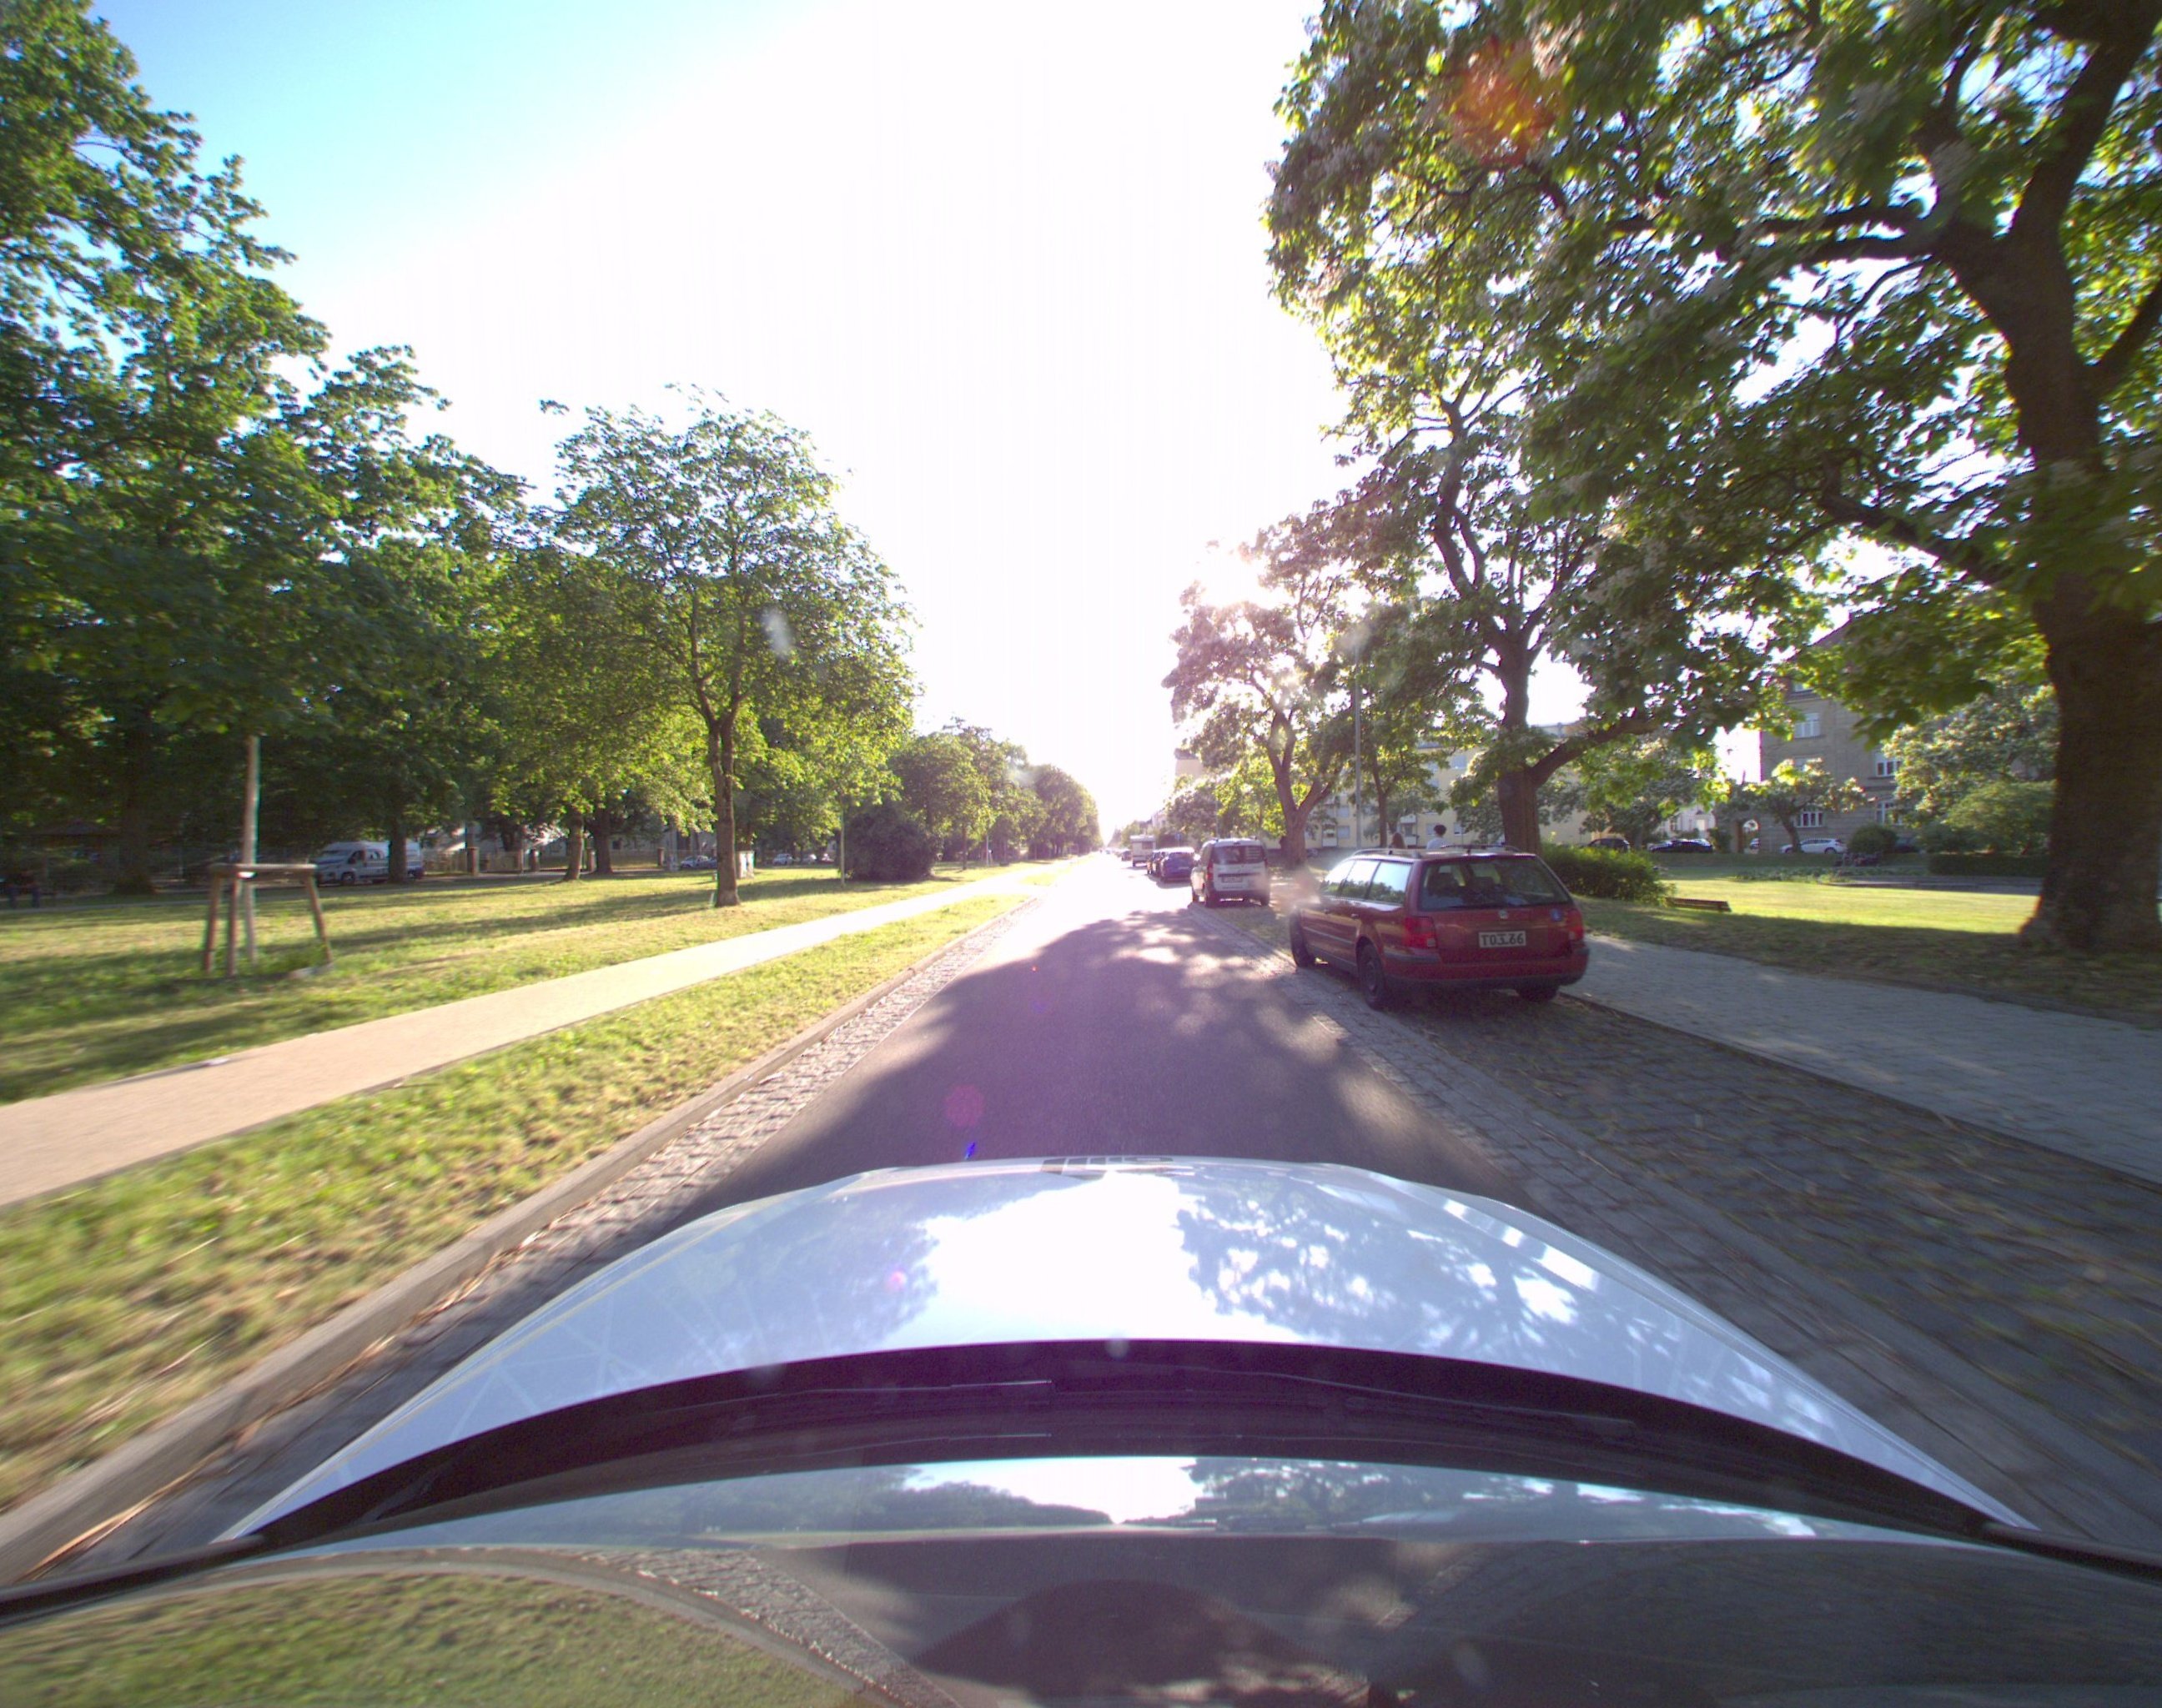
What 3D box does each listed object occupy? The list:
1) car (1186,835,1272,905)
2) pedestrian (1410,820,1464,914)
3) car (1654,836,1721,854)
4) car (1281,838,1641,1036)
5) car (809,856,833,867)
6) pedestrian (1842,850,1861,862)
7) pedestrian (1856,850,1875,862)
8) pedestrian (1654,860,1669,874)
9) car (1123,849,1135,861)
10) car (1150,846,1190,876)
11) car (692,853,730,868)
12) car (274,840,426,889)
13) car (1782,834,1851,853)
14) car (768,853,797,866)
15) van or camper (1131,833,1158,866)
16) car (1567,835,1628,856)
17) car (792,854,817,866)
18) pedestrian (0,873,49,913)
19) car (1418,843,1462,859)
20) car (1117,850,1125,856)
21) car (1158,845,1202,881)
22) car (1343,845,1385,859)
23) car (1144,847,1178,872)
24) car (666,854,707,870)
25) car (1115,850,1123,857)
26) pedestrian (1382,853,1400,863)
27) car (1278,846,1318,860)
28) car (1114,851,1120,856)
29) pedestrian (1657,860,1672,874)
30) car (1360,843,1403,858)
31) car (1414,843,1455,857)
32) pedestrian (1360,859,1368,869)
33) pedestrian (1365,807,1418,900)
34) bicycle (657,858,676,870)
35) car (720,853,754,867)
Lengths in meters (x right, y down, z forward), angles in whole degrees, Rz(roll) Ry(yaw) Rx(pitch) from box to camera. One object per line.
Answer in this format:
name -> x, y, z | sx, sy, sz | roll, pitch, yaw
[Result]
car -> 4.055, 0.411, 22.947 | 1.672, 1.740, 4.515 | -1, 0, 1
pedestrian -> 6.762, 0.237, 15.498 | 0.722, 1.736, 0.732 | 0, 0, 2
car -> 52.939, -0.804, 71.106 | 1.889, 1.453, 4.319 | -1, 0, -36
car -> 3.520, 0.644, 8.679 | 1.672, 1.486, 4.811 | -1, 0, 1
car -> -38.151, 1.126, 119.395 | 1.985, 1.508, 4.118 | -1, 0, 3
pedestrian -> 51.540, 0.133, 54.476 | 0.585, 0.794, 0.665 | -1, 0, -10
pedestrian -> 51.713, 0.148, 53.710 | 0.585, 0.794, 0.665 | -1, 0, -10
pedestrian -> 34.639, 0.785, 48.618 | 0.671, 0.794, 0.580 | -1, 0, -41
car -> 6.899, 0.109, 117.213 | 1.620, 1.669, 4.250 | -1, 0, 1
car -> 4.797, 0.363, 44.618 | 1.726, 1.551, 4.423 | -1, 0, 1
car -> -39.352, 0.673, 86.653 | 1.985, 1.508, 4.003 | -1, 0, 3
car -> -40.692, 0.544, 45.656 | 2.711, 2.463, 6.319 | -1, 0, 1
car -> 62.359, -0.883, 69.132 | 1.886, 1.453, 3.962 | -1, 0, -29
car -> -38.488, 0.691, 105.040 | 1.985, 1.508, 4.118 | -1, 0, 3
van or camper -> 5.862, -0.381, 75.929 | 2.226, 2.904, 5.674 | -1, -1, 1
car -> 48.324, -0.782, 76.260 | 1.891, 1.746, 4.470 | -1, 0, -45
car -> -38.194, 0.832, 112.590 | 1.985, 1.508, 4.118 | -1, 0, 3
pedestrian -> -27.286, 1.001, 21.013 | 0.544, 0.987, 0.612 | -1, 0, 12
car -> 37.252, -0.342, 84.503 | 3.949, 1.552, 1.620 | -2, 0, 29
car -> 8.940, -0.251, 182.128 | 1.620, 1.409, 4.250 | -1, 0, 1
car -> 4.627, 0.420, 38.365 | 1.725, 1.551, 4.278 | -1, 0, 3
car -> 30.586, -0.181, 87.892 | 4.158, 1.357, 1.702 | -1, 0, 22
car -> 4.994, 0.344, 51.202 | 1.622, 1.464, 4.247 | -1, 0, -1
car -> -39.523, 0.810, 81.633 | 1.985, 1.508, 4.003 | -1, 0, 3
car -> 7.892, -0.068, 170.869 | 1.620, 1.409, 4.250 | -1, 0, 1
pedestrian -> 25.139, 0.350, 66.088 | 0.577, 0.812, 1.244 | 0, 0, -43
car -> 23.974, -0.112, 89.941 | 4.162, 1.462, 1.700 | -1, 0, 17
car -> 9.603, -0.196, 218.612 | 1.620, 1.409, 4.250 | -1, 0, 1
pedestrian -> 35.182, 0.772, 49.073 | 0.671, 0.794, 0.580 | -1, 0, -41
car -> 34.308, -0.380, 93.065 | 4.473, 1.569, 1.890 | -1, 0, 20
car -> 39.184, -0.400, 90.297 | 3.949, 1.453, 1.892 | -2, 0, 30
pedestrian -> 23.341, 0.856, 67.181 | 0.470, 0.812, 0.612 | 0, 0, 3
pedestrian -> 5.910, -0.016, 15.517 | 0.750, 1.736, 0.732 | 0, 0, 2
bicycle -> -41.167, 1.011, 80.882 | 0.655, 1.175, 2.333 | -1, 0, -1
car -> -39.001, 0.643, 92.453 | 1.985, 1.508, 4.118 | -1, 0, 3
